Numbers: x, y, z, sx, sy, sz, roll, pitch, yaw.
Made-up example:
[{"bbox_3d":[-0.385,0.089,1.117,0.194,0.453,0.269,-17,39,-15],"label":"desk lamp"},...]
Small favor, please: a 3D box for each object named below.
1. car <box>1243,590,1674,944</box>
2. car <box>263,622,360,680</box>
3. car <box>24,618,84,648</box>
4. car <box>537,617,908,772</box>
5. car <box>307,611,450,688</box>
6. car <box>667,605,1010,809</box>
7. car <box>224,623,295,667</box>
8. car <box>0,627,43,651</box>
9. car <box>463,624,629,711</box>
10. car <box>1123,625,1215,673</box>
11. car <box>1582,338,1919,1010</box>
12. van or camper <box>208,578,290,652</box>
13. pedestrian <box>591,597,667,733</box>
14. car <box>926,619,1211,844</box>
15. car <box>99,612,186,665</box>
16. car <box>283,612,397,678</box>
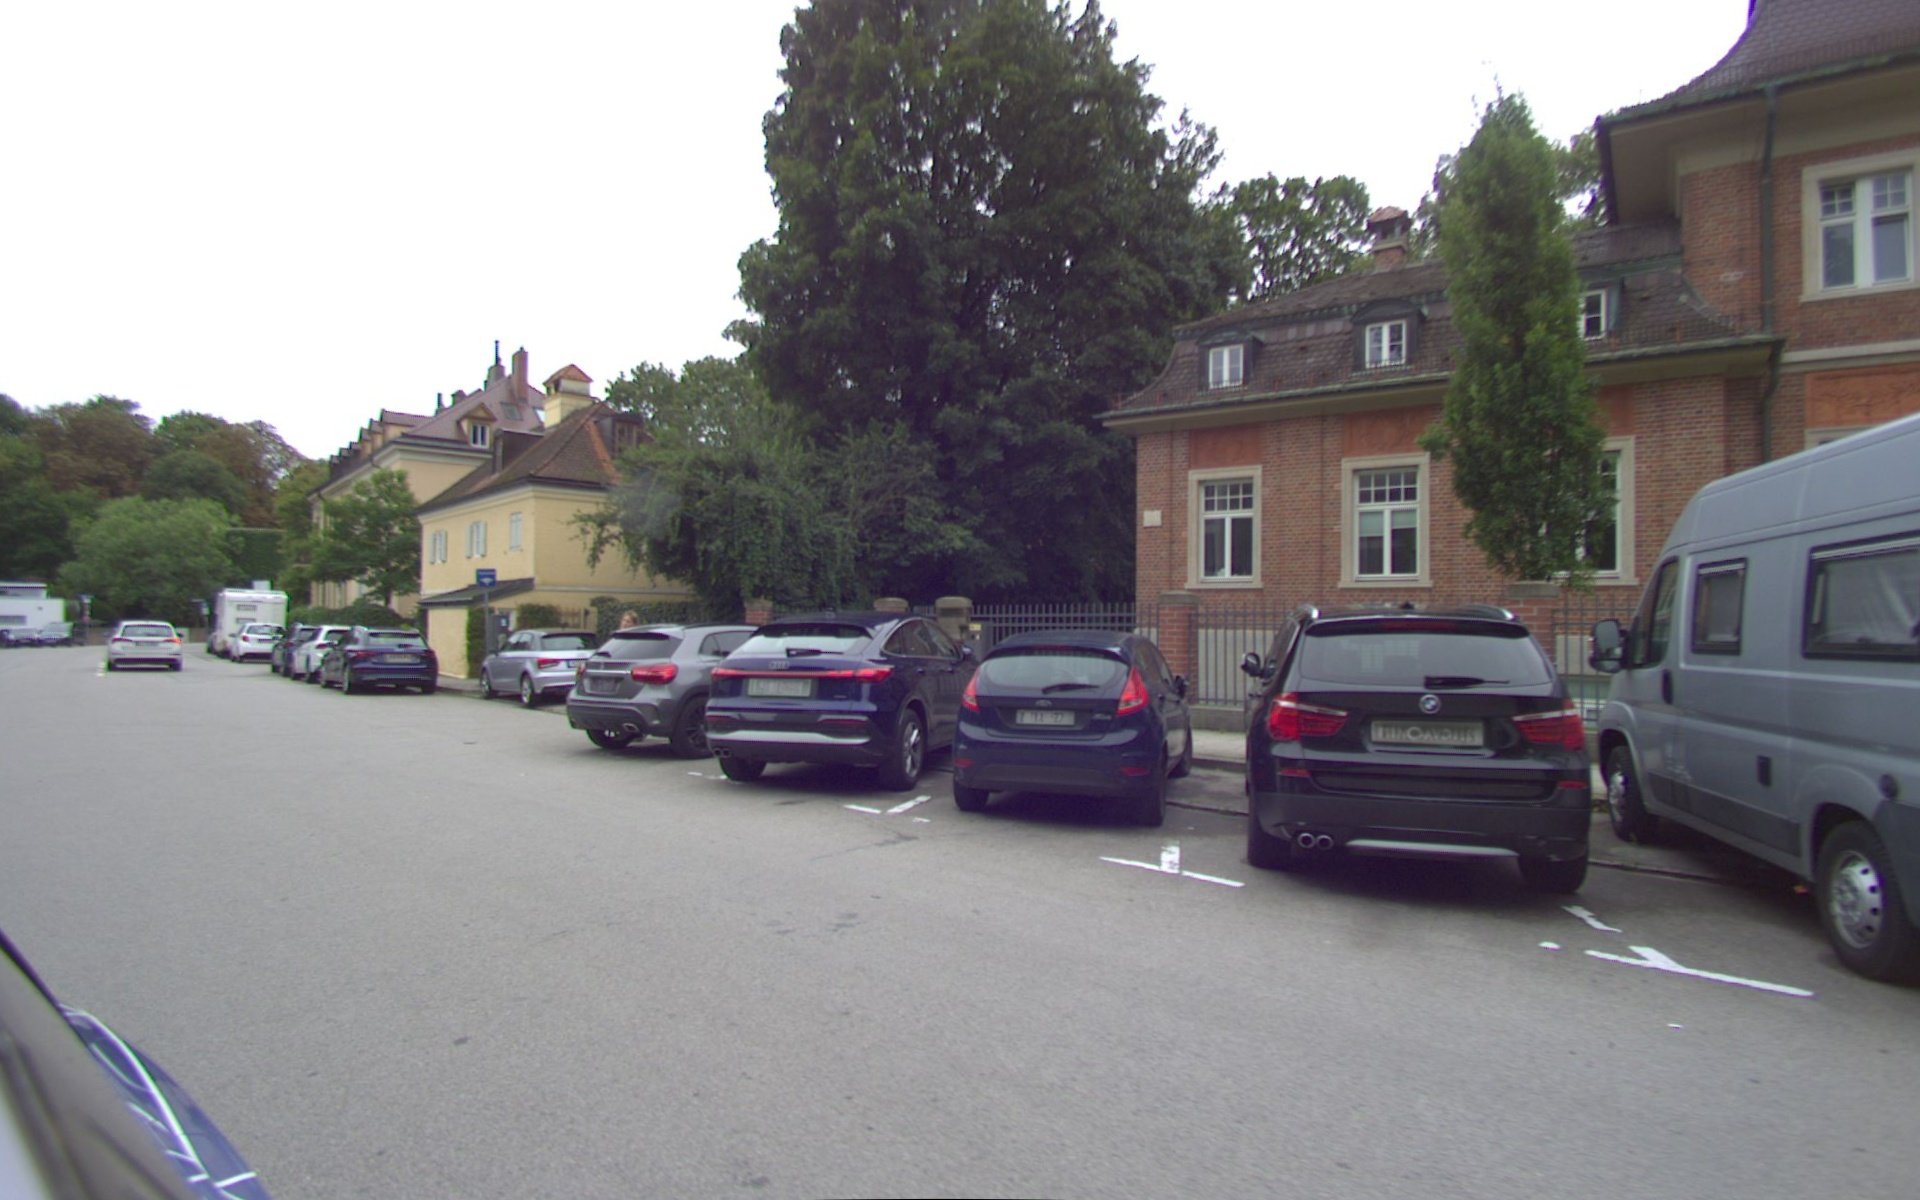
[{"bbox_3d":[3.074,0.899,7.284,1.949,1.638,4.503,2,-2,16],"label":"car"},{"bbox_3d":[-19.454,1.498,30.275,1.822,1.546,4.448,5,-4,-40],"label":"car"},{"bbox_3d":[-56.899,2.094,63.611,1.966,1.706,4.347,-1,-3,-30],"label":"car"},{"bbox_3d":[-2.751,1.036,12.637,1.930,1.541,4.292,1,-1,36],"label":"car"},{"bbox_3d":[-13.173,1.098,22.794,1.822,1.547,4.568,5,-4,-41],"label":"car"},{"bbox_3d":[-0.941,0.969,10.542,1.948,1.606,4.503,1,-3,16],"label":"car"},{"bbox_3d":[-26.863,1.704,38.772,1.756,1.547,4.234,5,-4,-40],"label":"car"},{"bbox_3d":[-62.369,2.600,67.177,4.269,1.457,1.871,-4,-2,43],"label":"car"},{"bbox_3d":[-8.337,1.306,20.206,1.719,1.547,4.154,5,-4,-41],"label":"car"},{"bbox_3d":[7.638,1.711,36.689,1.994,1.630,3.955,-1,-2,33],"label":"car"},{"bbox_3d":[5.187,0.359,5.135,2.214,2.583,4.613,0,-3,16],"label":"car"},{"bbox_3d":[-31.814,0.735,45.160,2.423,2.963,7.225,4,-4,-39],"label":"van or camper"},{"bbox_3d":[-4.195,0.816,12.834,0.714,1.660,0.583,-1,-4,44],"label":"pedestrian"},{"bbox_3d":[1.269,1.021,9.393,1.818,1.498,4.398,1,-2,17],"label":"car"},{"bbox_3d":[-24.569,1.129,30.364,1.751,1.486,4.138,2,-2,-42],"label":"car"},{"bbox_3d":[-16.353,1.179,26.582,1.822,1.547,4.528,5,-4,-40],"label":"car"}]
